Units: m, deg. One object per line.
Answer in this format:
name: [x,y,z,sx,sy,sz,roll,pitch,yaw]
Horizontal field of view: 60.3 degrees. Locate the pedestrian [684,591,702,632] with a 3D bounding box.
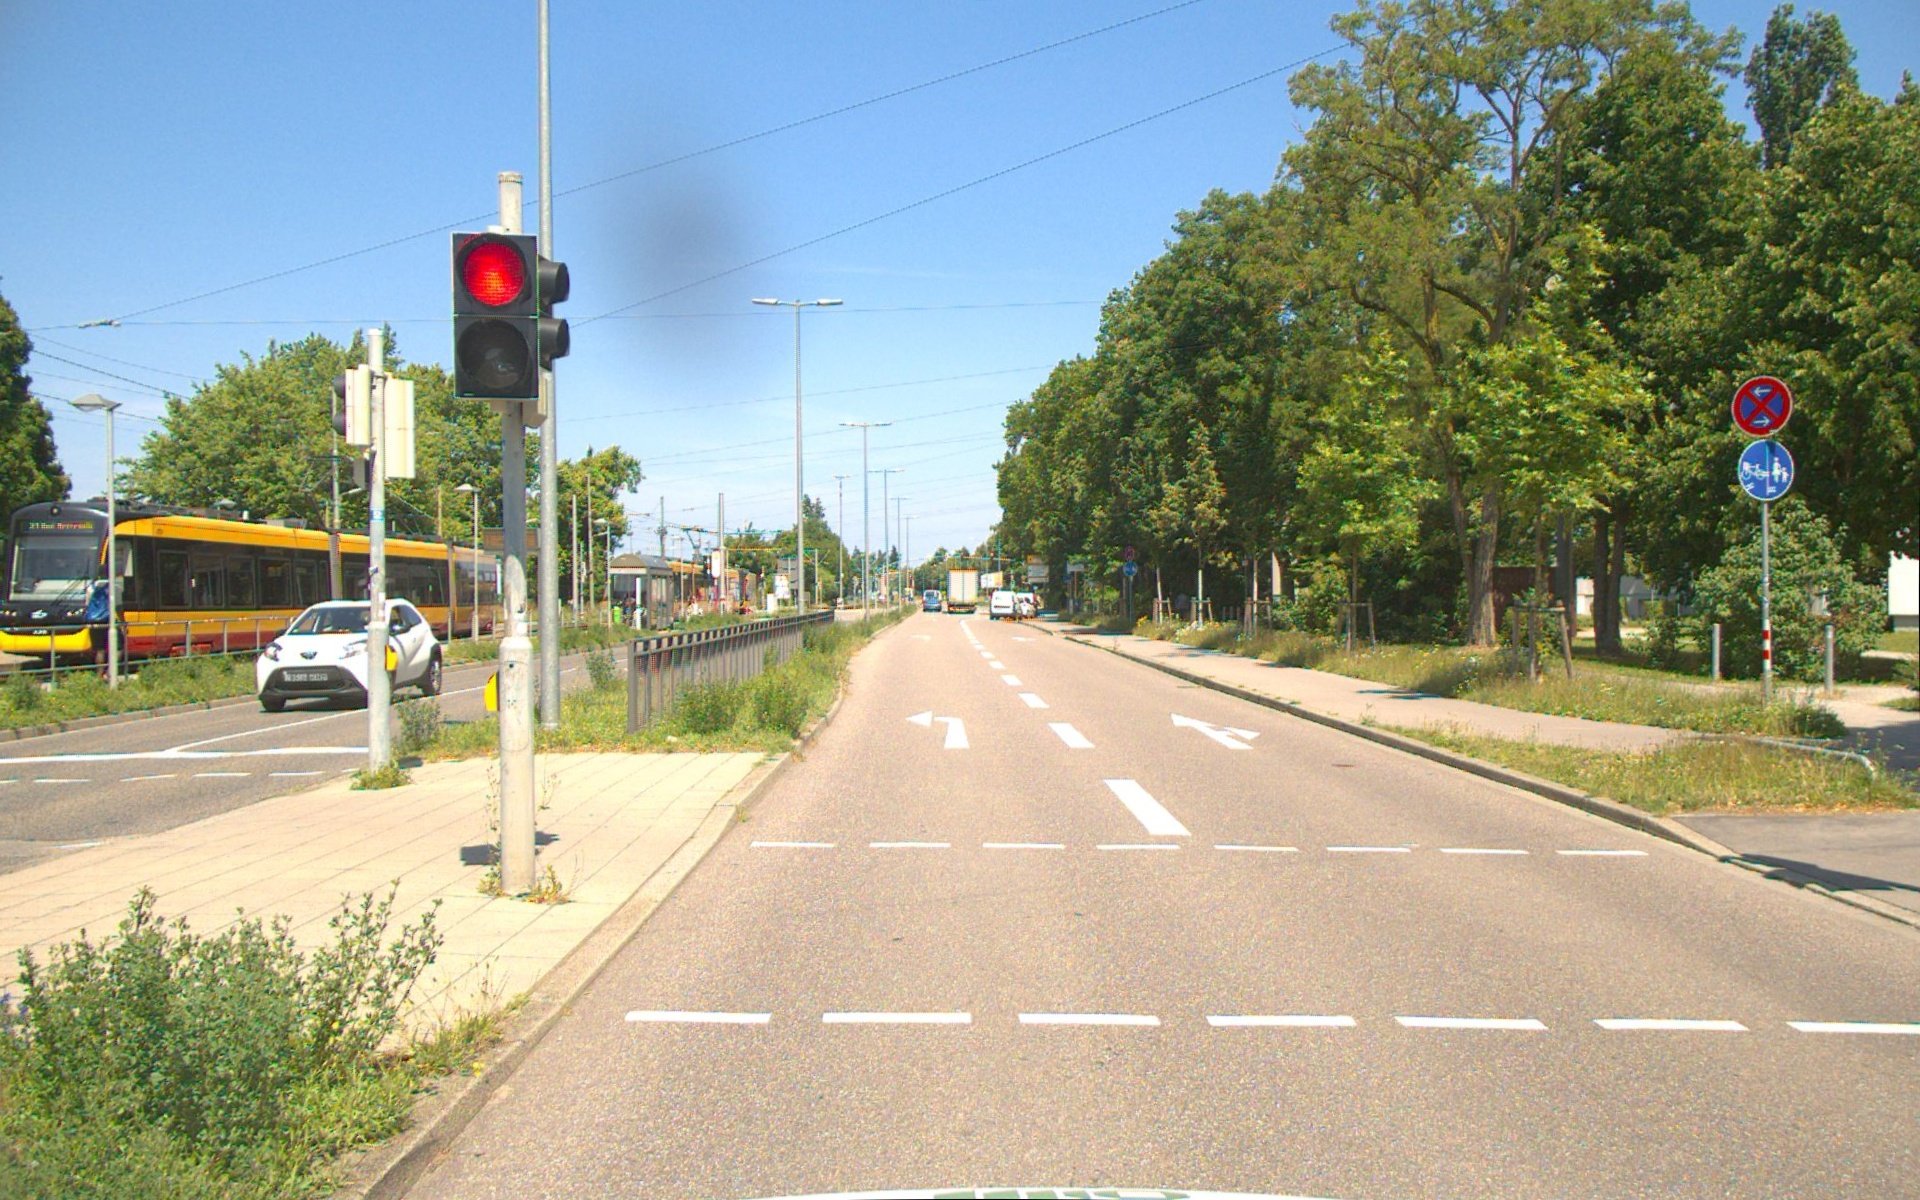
pedestrian: [-13.471,0.587,83.431,0.798,2.049,0.938,0,0,-1]

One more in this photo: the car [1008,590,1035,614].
car: [4.398,0.117,118.848,1.743,1.698,3.999,0,0,-1]

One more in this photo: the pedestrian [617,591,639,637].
pedestrian: [-13.853,0.590,69.073,0.769,1.901,0.817,0,0,-1]

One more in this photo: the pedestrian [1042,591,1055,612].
pedestrian: [8.757,0.148,163.244,1.161,2.049,1.213,0,0,-1]

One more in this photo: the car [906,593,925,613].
car: [-4.710,0.330,175.082,1.953,2.049,3.999,0,0,-1]

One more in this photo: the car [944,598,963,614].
car: [-0.601,0.560,153.593,1.774,1.490,3.999,0,0,-1]

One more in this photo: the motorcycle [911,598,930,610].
motorcycle: [-4.794,0.431,200.220,2.144,1.431,0.845,0,0,-12]

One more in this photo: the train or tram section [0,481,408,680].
train or tram section: [-18.841,-0.430,42.649,3.150,4.000,18.498,0,0,0]

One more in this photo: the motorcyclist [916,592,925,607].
motorcyclist: [-4.772,-0.057,200.213,0.908,1.867,0.847,0,0,-12]

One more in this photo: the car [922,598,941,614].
car: [-2.696,0.520,157.829,1.774,1.490,3.999,0,0,-1]

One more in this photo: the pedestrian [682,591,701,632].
pedestrian: [-13.747,0.588,84.721,0.798,2.049,0.938,0,0,-1]

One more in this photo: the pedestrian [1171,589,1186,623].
pedestrian: [9.355,0.264,70.759,0.591,1.463,0.556,0,0,6]

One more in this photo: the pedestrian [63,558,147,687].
pedestrian: [-12.675,0.319,24.545,0.703,1.808,0.842,4,2,-1]

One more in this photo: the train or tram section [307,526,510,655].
train or tram section: [-19.690,-0.342,60.761,3.154,4.000,18.475,0,0,-6]

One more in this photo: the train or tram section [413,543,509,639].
train or tram section: [-23.780,-0.389,78.034,3.169,4.000,18.386,0,0,-20]

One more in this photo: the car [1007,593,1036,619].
car: [4.175,0.397,112.496,1.743,1.698,3.999,0,0,-1]

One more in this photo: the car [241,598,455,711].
car: [-8.939,0.744,24.486,1.807,1.521,3.790,0,0,-1]

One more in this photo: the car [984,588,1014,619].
car: [2.447,0.219,105.543,1.743,1.937,3.999,0,0,-1]

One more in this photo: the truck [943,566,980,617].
truck: [0.061,-0.733,146.059,3.140,4.435,6.559,0,0,-1]

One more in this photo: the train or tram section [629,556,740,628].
train or tram section: [-16.727,-0.489,103.506,2.898,3.815,30.021,0,0,-2]
